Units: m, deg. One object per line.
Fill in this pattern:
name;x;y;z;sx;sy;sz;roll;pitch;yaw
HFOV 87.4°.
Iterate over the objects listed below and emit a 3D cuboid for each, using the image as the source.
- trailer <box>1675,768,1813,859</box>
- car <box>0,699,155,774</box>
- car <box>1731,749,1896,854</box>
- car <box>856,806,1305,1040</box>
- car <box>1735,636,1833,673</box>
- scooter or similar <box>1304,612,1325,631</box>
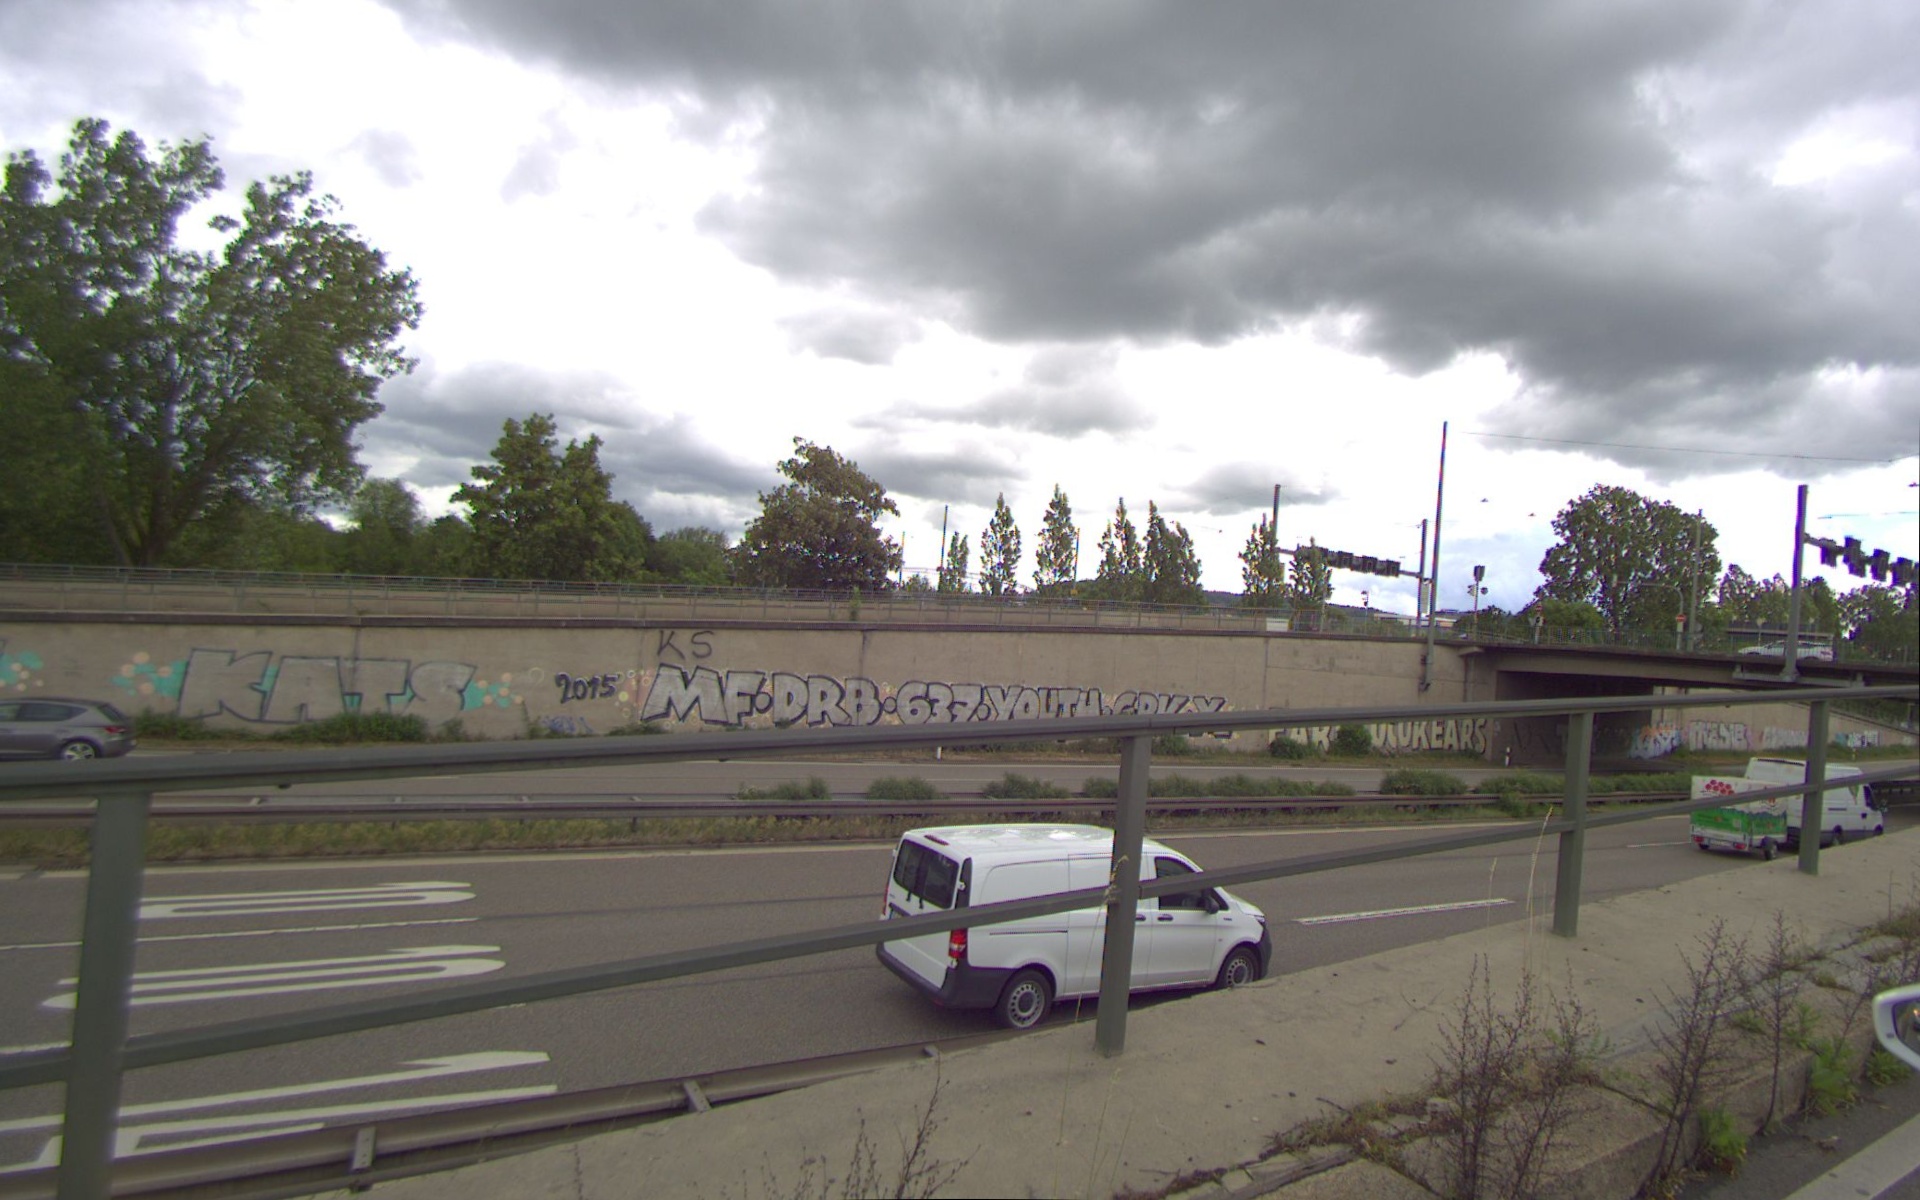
trailer;22.402;6.030;28.670;3.892;2.157;1.720;6;-2;-30
car;-20.078;2.906;21.549;4.065;1.393;1.702;6;-4;-31
car;26.515;6.191;31.152;5.867;2.719;1.984;6;-2;-30
car;1.558;3.638;12.098;5.141;1.900;1.984;7;-3;-30
car;48.012;3.142;58.579;1.986;1.895;4.161;2;-1;-42
scooter or similar;22.328;1.383;63.249;1.403;1.108;0.539;5;-2;-36
